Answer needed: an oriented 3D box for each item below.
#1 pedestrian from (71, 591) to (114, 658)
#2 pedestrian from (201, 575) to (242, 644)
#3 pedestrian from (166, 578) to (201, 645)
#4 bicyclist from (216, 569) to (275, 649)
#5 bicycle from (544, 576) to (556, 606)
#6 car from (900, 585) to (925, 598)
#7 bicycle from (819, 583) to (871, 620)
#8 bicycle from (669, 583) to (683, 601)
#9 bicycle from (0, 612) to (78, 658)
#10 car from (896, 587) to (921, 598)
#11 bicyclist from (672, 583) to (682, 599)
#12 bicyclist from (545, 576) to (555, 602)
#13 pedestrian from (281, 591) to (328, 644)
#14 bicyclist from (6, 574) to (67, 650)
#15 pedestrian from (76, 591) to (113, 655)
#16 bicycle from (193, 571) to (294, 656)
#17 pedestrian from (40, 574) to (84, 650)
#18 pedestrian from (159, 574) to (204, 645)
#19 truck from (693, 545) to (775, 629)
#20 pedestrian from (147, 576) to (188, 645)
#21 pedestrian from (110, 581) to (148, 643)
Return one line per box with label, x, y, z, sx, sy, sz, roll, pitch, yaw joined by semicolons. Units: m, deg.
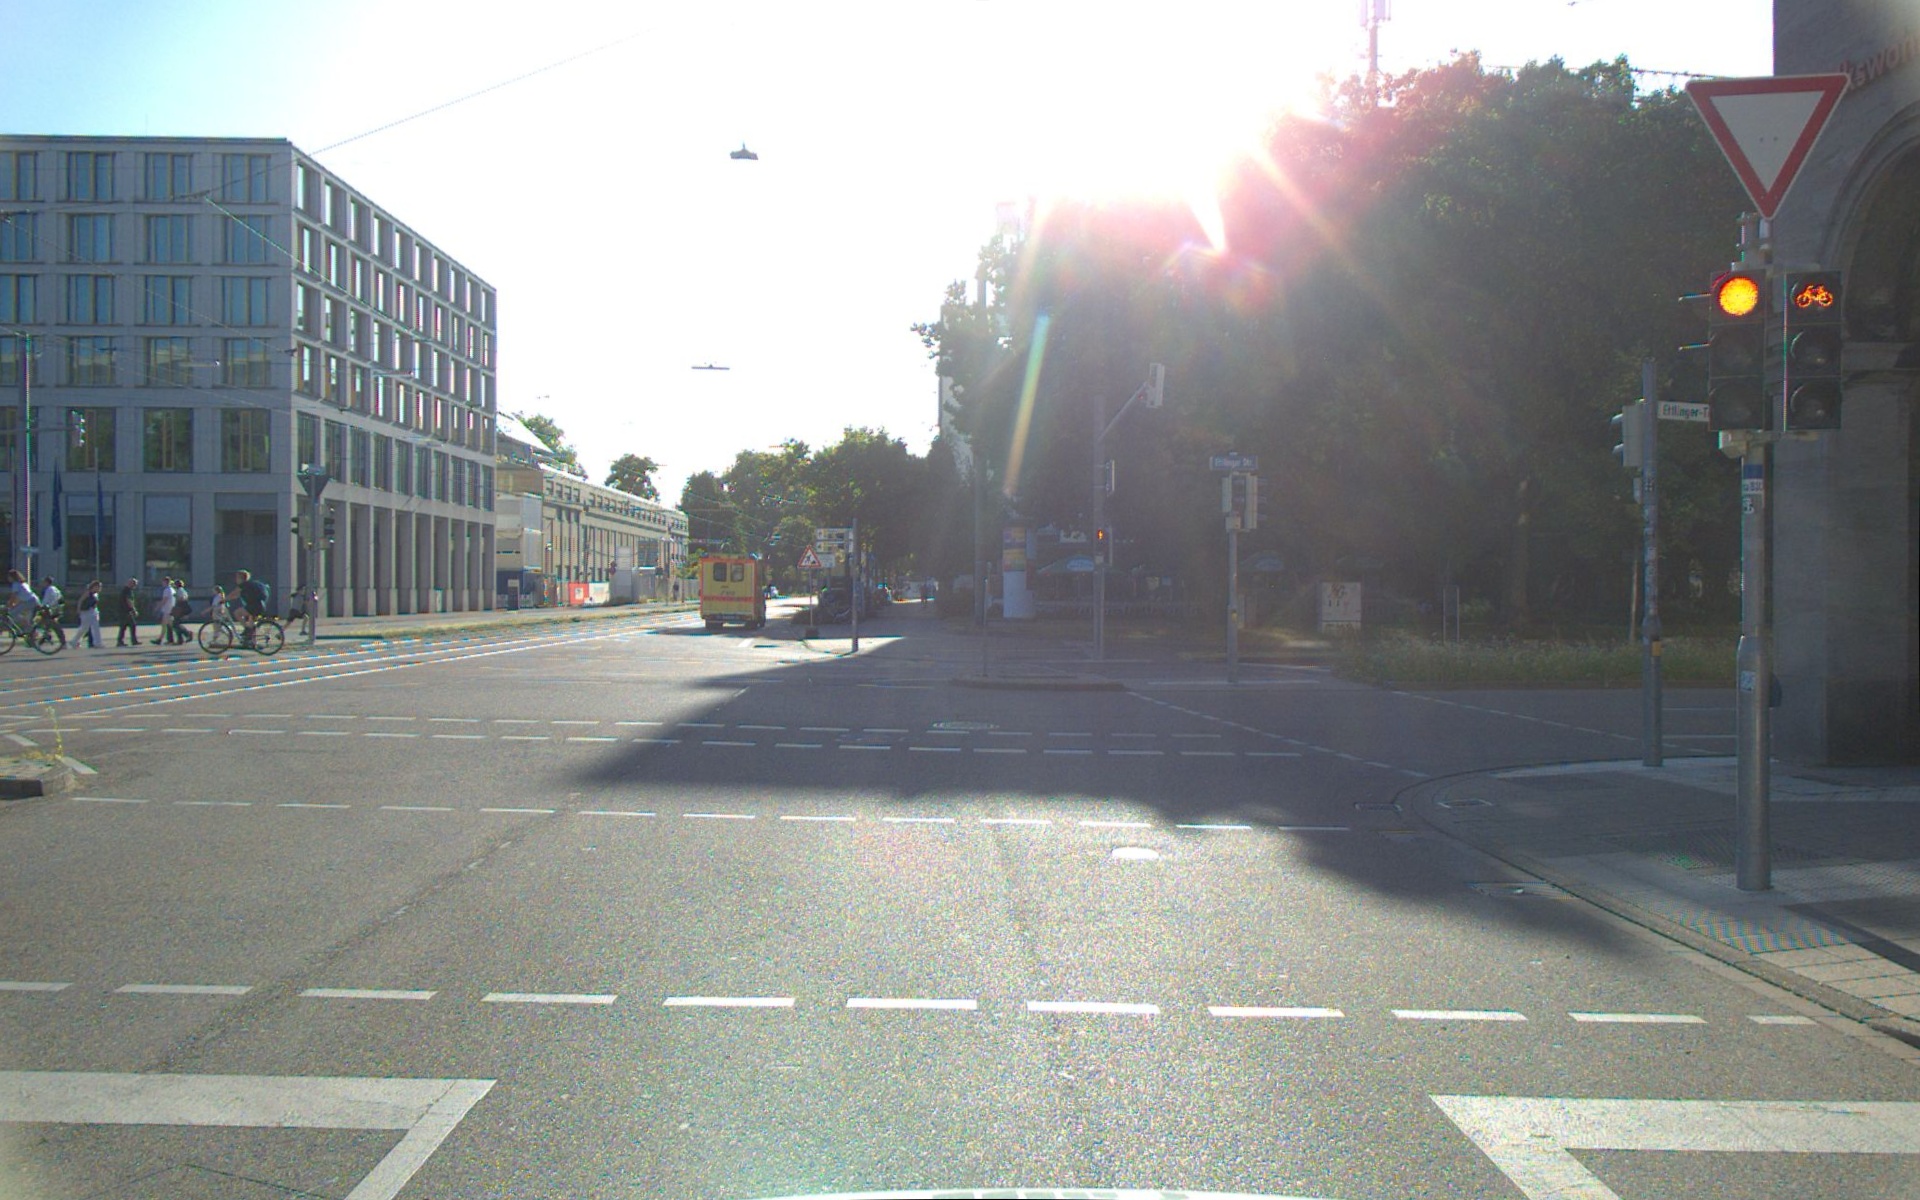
pedestrian;-21.710;0.606;41.396;0.777;1.673;0.620;0;0;-5
pedestrian;-19.885;0.245;44.542;0.851;1.835;0.532;0;0;4
pedestrian;-21.526;0.312;45.855;0.723;1.835;0.532;0;0;4
bicyclist;-15.091;0.176;34.953;1.056;1.669;0.595;0;0;-14
bicycle;-32.137;-0.725;129.668;0.559;2.336;1.422;0;0;-2
car;-6.115;-1.130;213.359;3.152;1.616;1.445;1;0;-5
bicycle;-5.649;0.079;81.291;2.495;1.774;1.037;1;0;-1
bicycle;-25.021;-0.697;145.773;0.675;1.538;2.944;1;0;0
bicycle;-19.909;0.734;35.099;2.025;0.949;0.574;0;0;-7
car;-6.544;-0.920;210.987;3.153;1.285;1.372;1;0;-2
bicyclist;-24.974;-0.799;145.844;0.675;1.351;1.000;1;0;0
bicyclist;-32.145;-0.842;129.681;0.559;2.059;0.761;0;0;-2
pedestrian;-16.682;0.438;42.102;0.975;1.340;0.765;0;0;-10
bicyclist;-19.612;0.250;35.131;0.956;1.587;0.574;0;0;-7
pedestrian;-22.849;0.603;43.681;0.680;1.673;0.621;0;0;-5
bicycle;-15.120;0.281;34.951;1.865;1.765;0.595;0;0;-14
pedestrian;-23.177;0.309;42.691;0.785;1.951;0.637;0;0;4
pedestrian;-20.390;0.244;43.329;0.852;1.835;0.664;0;0;4
truck;-8.666;-0.479;63.965;2.663;3.068;6.484;0;0;-4
pedestrian;-21.345;0.283;44.571;0.723;1.835;0.716;0;0;4
pedestrian;-22.590;0.311;44.969;0.679;1.673;0.622;0;0;6
